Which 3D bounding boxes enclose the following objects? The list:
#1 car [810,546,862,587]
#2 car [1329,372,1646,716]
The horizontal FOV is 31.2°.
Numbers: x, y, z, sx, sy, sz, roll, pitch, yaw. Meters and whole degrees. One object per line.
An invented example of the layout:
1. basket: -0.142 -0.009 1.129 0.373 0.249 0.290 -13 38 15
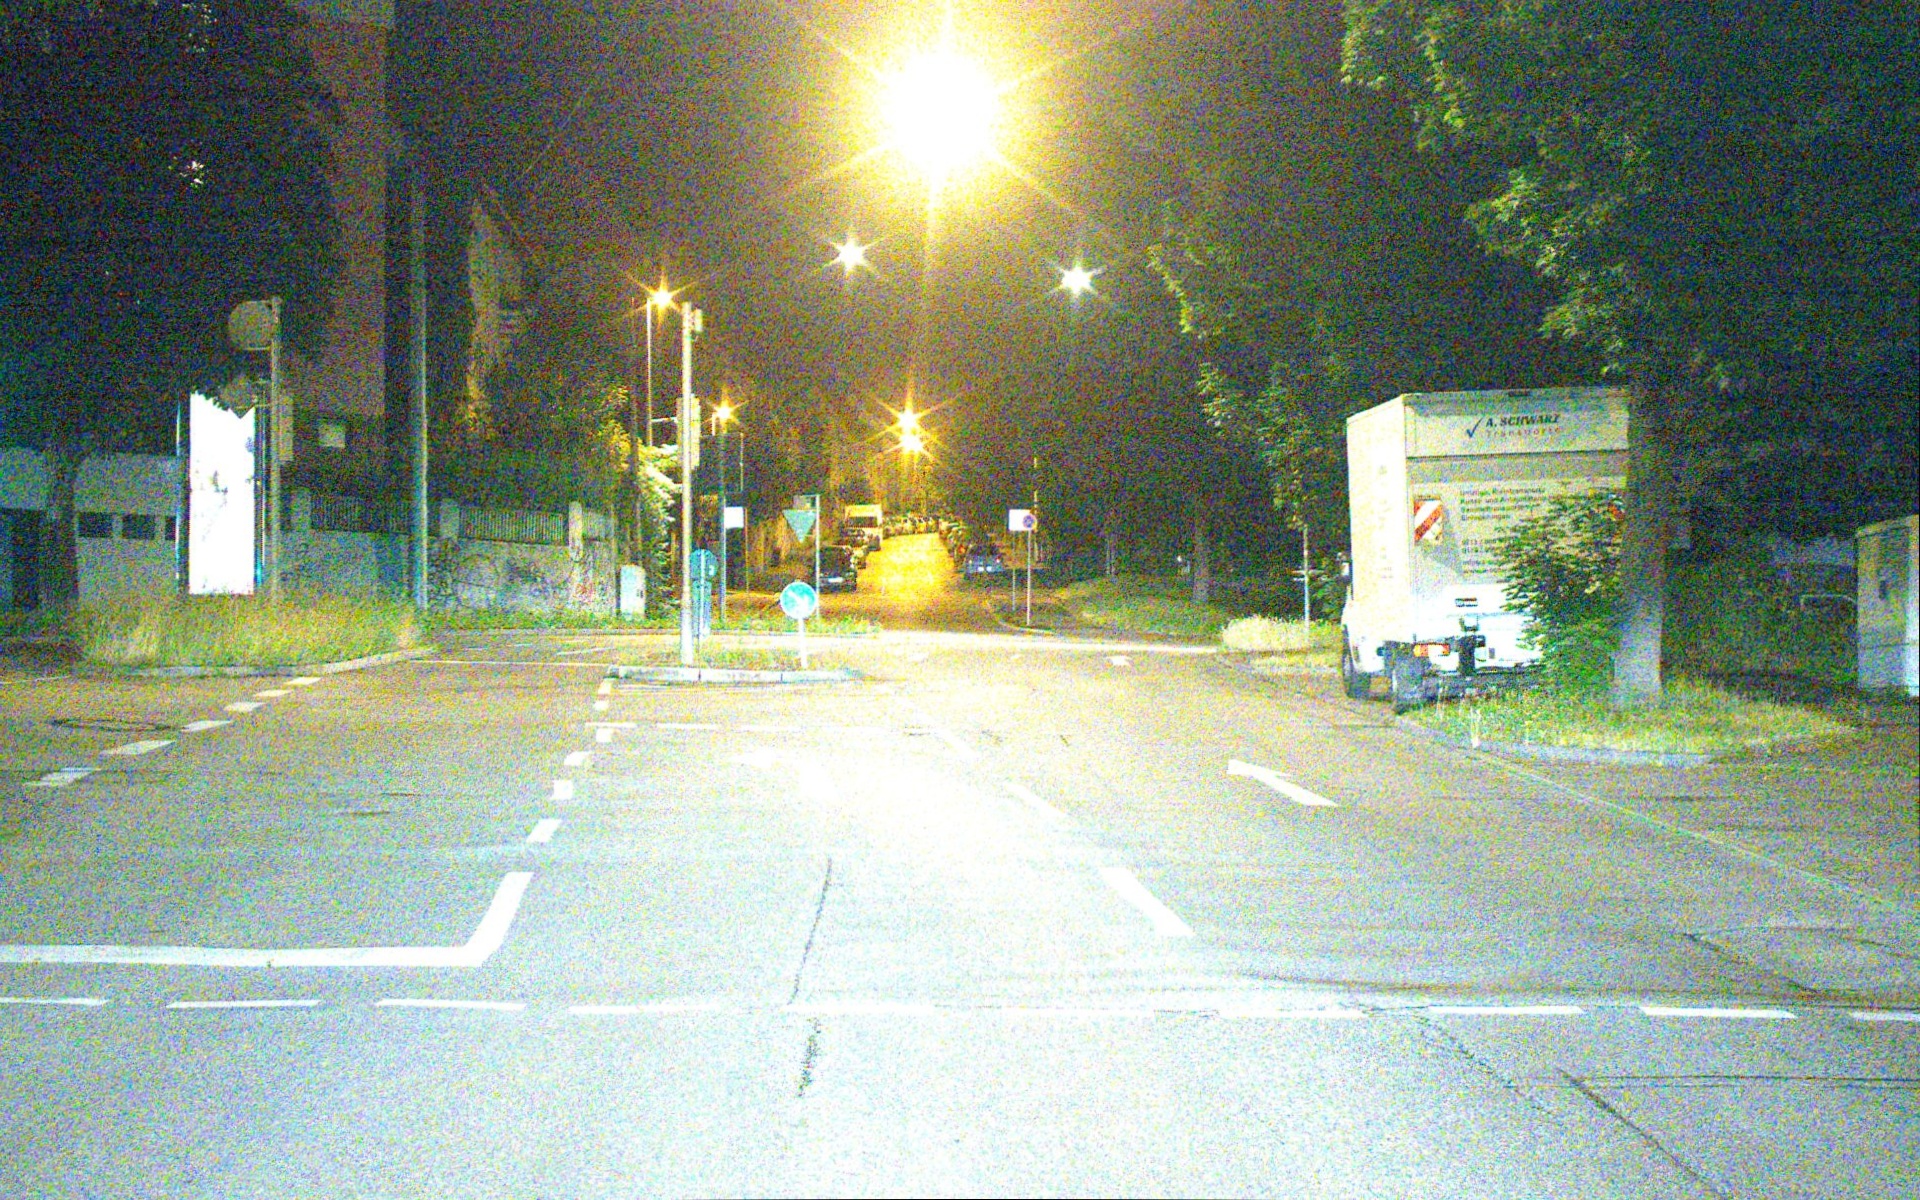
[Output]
1. car: -4.846 -1.291 134.328 1.908 1.552 3.904 1 1 -1
2. car: 5.119 -0.543 34.239 2.297 3.082 5.840 -1 1 1
